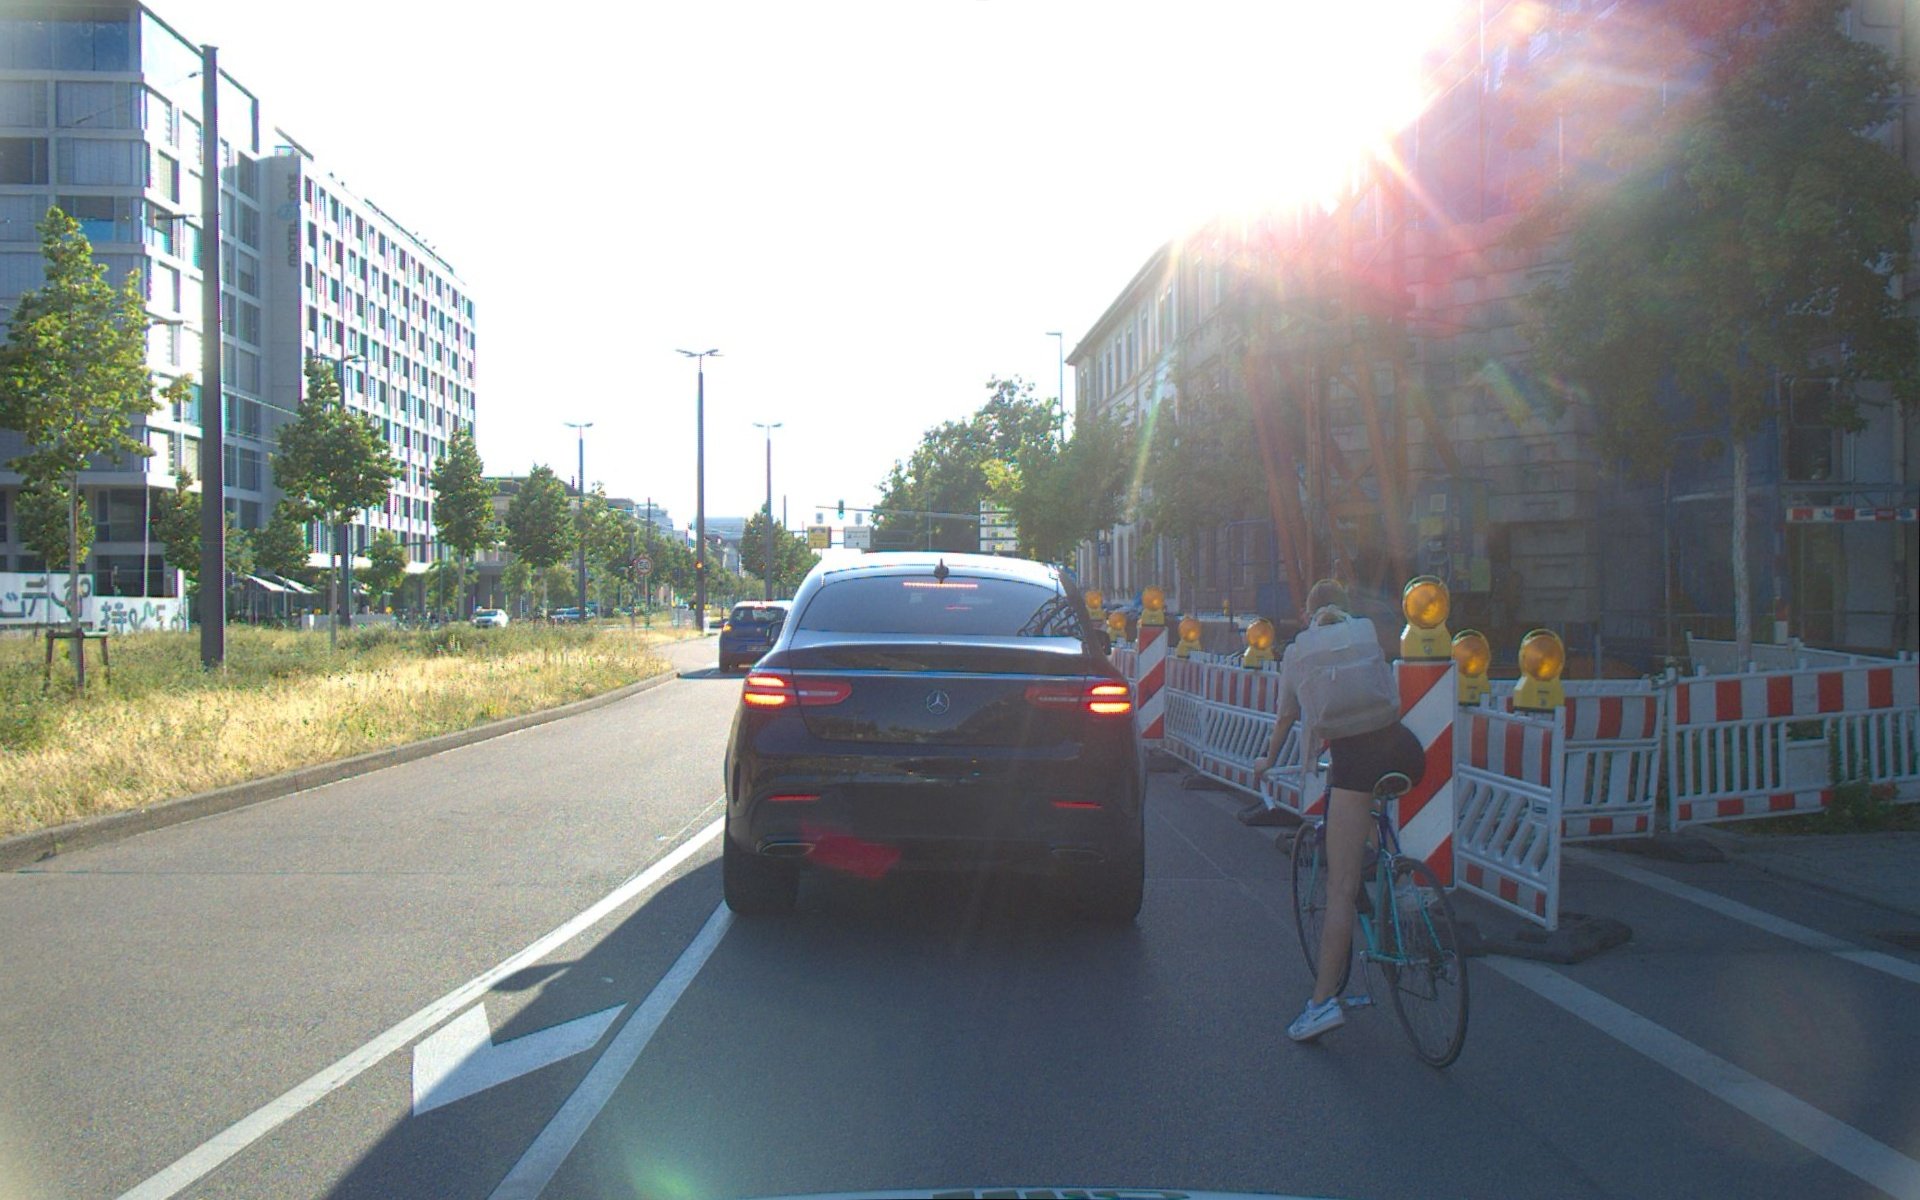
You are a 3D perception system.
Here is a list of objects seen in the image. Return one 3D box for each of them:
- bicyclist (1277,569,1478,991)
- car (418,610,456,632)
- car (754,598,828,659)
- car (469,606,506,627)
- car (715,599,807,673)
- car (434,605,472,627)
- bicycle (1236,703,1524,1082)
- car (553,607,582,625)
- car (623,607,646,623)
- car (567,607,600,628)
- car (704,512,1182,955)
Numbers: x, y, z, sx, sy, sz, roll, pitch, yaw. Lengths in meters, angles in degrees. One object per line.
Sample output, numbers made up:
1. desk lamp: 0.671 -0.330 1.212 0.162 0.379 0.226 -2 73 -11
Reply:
1. bicyclist: 1.468 0.610 5.886 0.512 1.420 0.614 1 -1 -4
2. car: -36.966 1.464 117.012 1.674 1.467 3.580 1 0 -3
3. car: -4.310 0.711 42.635 1.674 1.467 3.580 1 0 -3
4. car: -32.852 1.138 115.028 1.674 1.467 3.580 1 0 -3
5. car: -4.194 0.738 35.268 1.674 1.467 3.580 1 0 -3
6. car: -35.381 1.096 115.574 1.674 1.467 3.580 1 0 -3
7. bicycle: 1.450 0.963 5.994 0.502 1.070 1.724 1 0 -3
8. car: -33.353 1.370 140.581 1.674 1.467 3.580 1 0 -3
9. car: -32.605 1.487 165.630 1.674 1.467 3.580 1 0 -3
10. car: -27.071 1.255 118.869 1.674 1.467 3.580 1 0 -3
11. car: -0.094 0.563 8.851 1.953 1.803 3.999 1 0 -1
